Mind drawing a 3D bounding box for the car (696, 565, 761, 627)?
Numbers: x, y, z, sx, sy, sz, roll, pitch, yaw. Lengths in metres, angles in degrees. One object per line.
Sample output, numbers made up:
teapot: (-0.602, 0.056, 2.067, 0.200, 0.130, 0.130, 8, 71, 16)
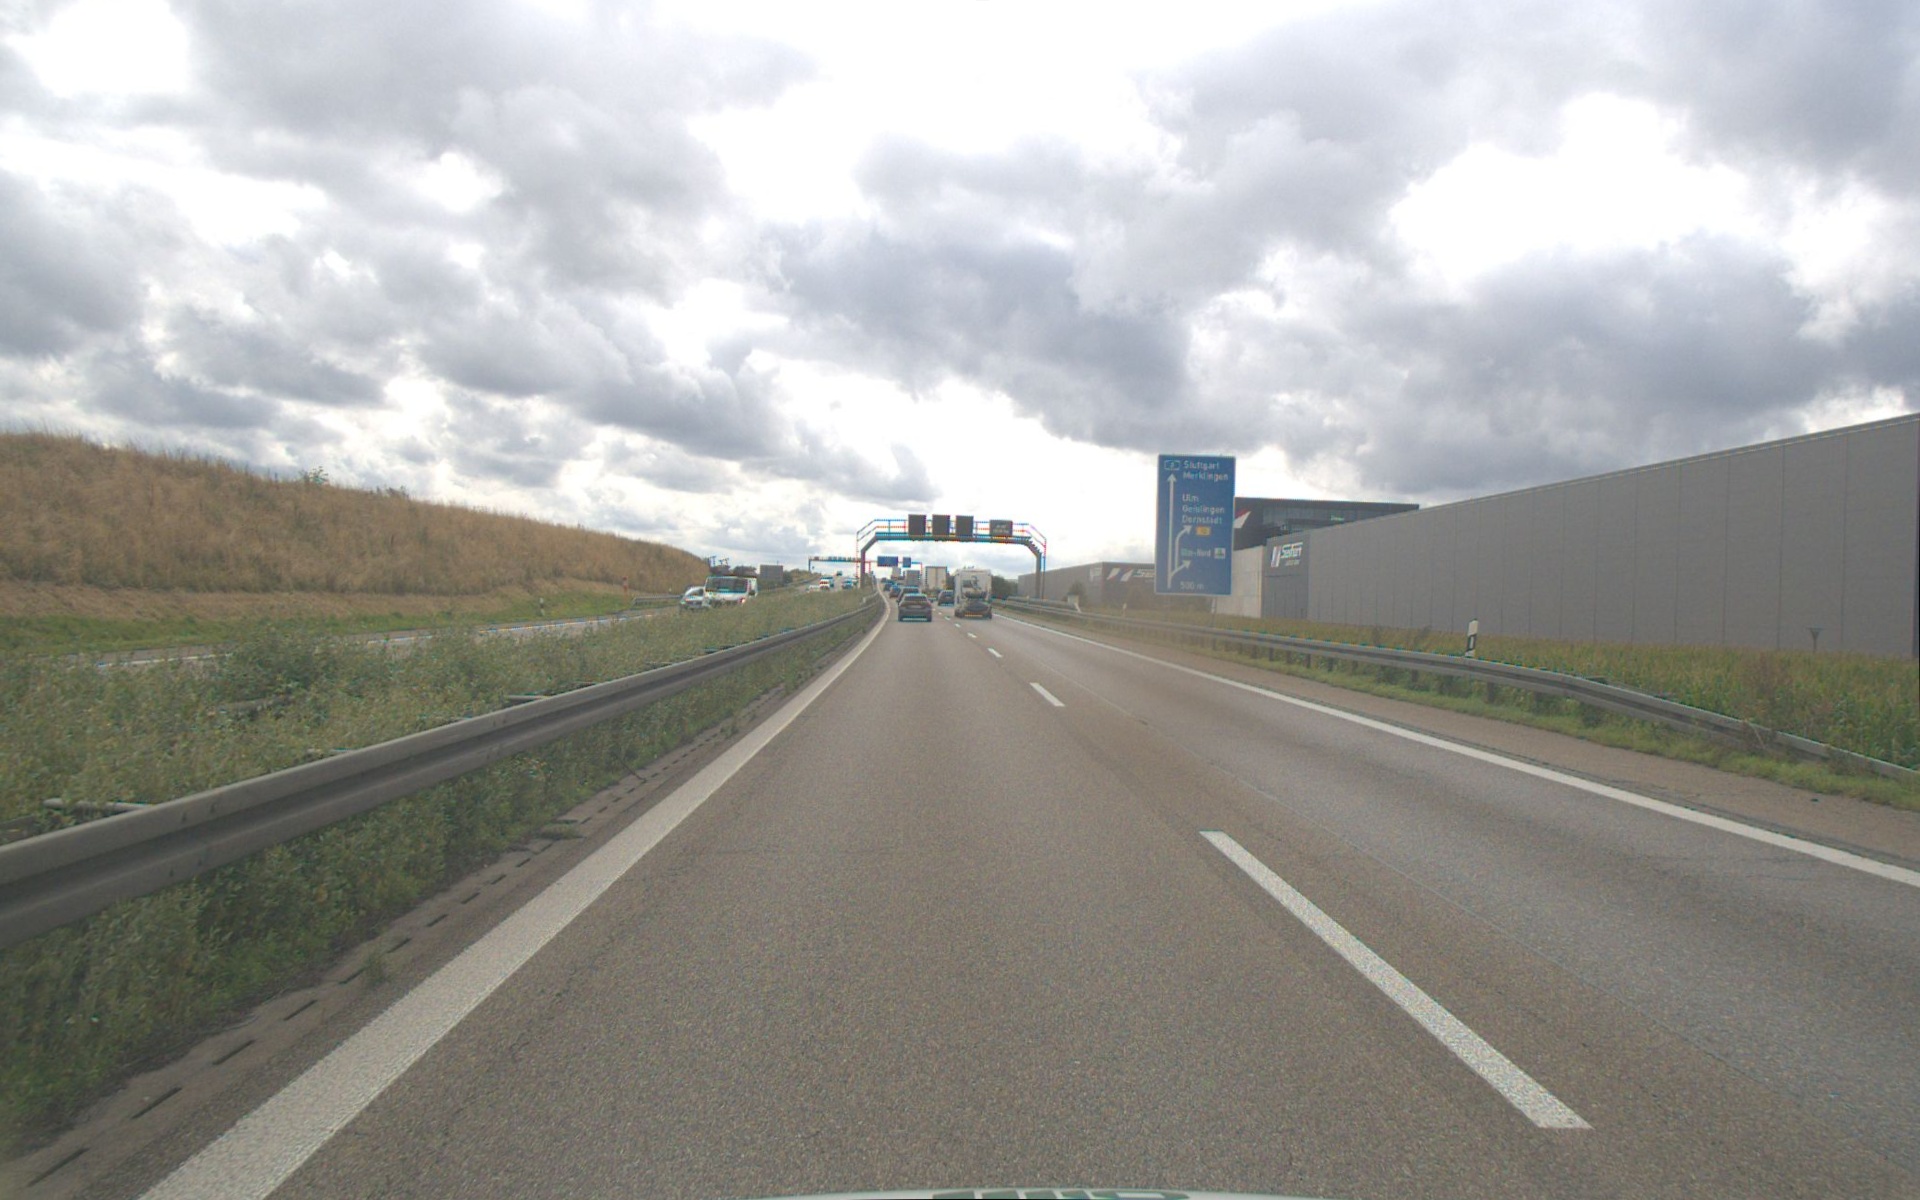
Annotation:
car: (-9.449, -0.150, 67.892, 1.953, 2.389, 5.868, 2, 0, -2)

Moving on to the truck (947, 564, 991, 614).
truck: (0.518, -0.647, 104.372, 2.432, 3.002, 5.811, 2, 0, -3)

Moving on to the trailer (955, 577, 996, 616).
trailer: (0.883, -0.177, 97.613, 2.291, 2.173, 3.999, 2, 0, -1)

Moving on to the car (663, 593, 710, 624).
car: (-13.915, 0.426, 84.361, 1.736, 1.479, 3.999, 2, 0, -1)

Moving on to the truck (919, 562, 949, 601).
truck: (-3.214, -2.242, 202.574, 3.272, 4.613, 8.013, 2, 0, -3)

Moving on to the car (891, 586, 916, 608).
car: (-4.595, -0.209, 134.722, 1.906, 1.714, 3.999, 2, 0, -1)

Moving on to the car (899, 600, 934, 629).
car: (-2.292, 0.752, 87.571, 1.711, 1.478, 3.999, 2, 0, 0)

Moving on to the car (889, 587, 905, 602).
car: (-8.006, -0.653, 210.425, 1.903, 1.806, 3.695, 2, 0, -1)

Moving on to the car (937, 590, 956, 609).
car: (-1.309, -0.027, 157.712, 1.764, 1.714, 3.999, 2, 0, -1)
